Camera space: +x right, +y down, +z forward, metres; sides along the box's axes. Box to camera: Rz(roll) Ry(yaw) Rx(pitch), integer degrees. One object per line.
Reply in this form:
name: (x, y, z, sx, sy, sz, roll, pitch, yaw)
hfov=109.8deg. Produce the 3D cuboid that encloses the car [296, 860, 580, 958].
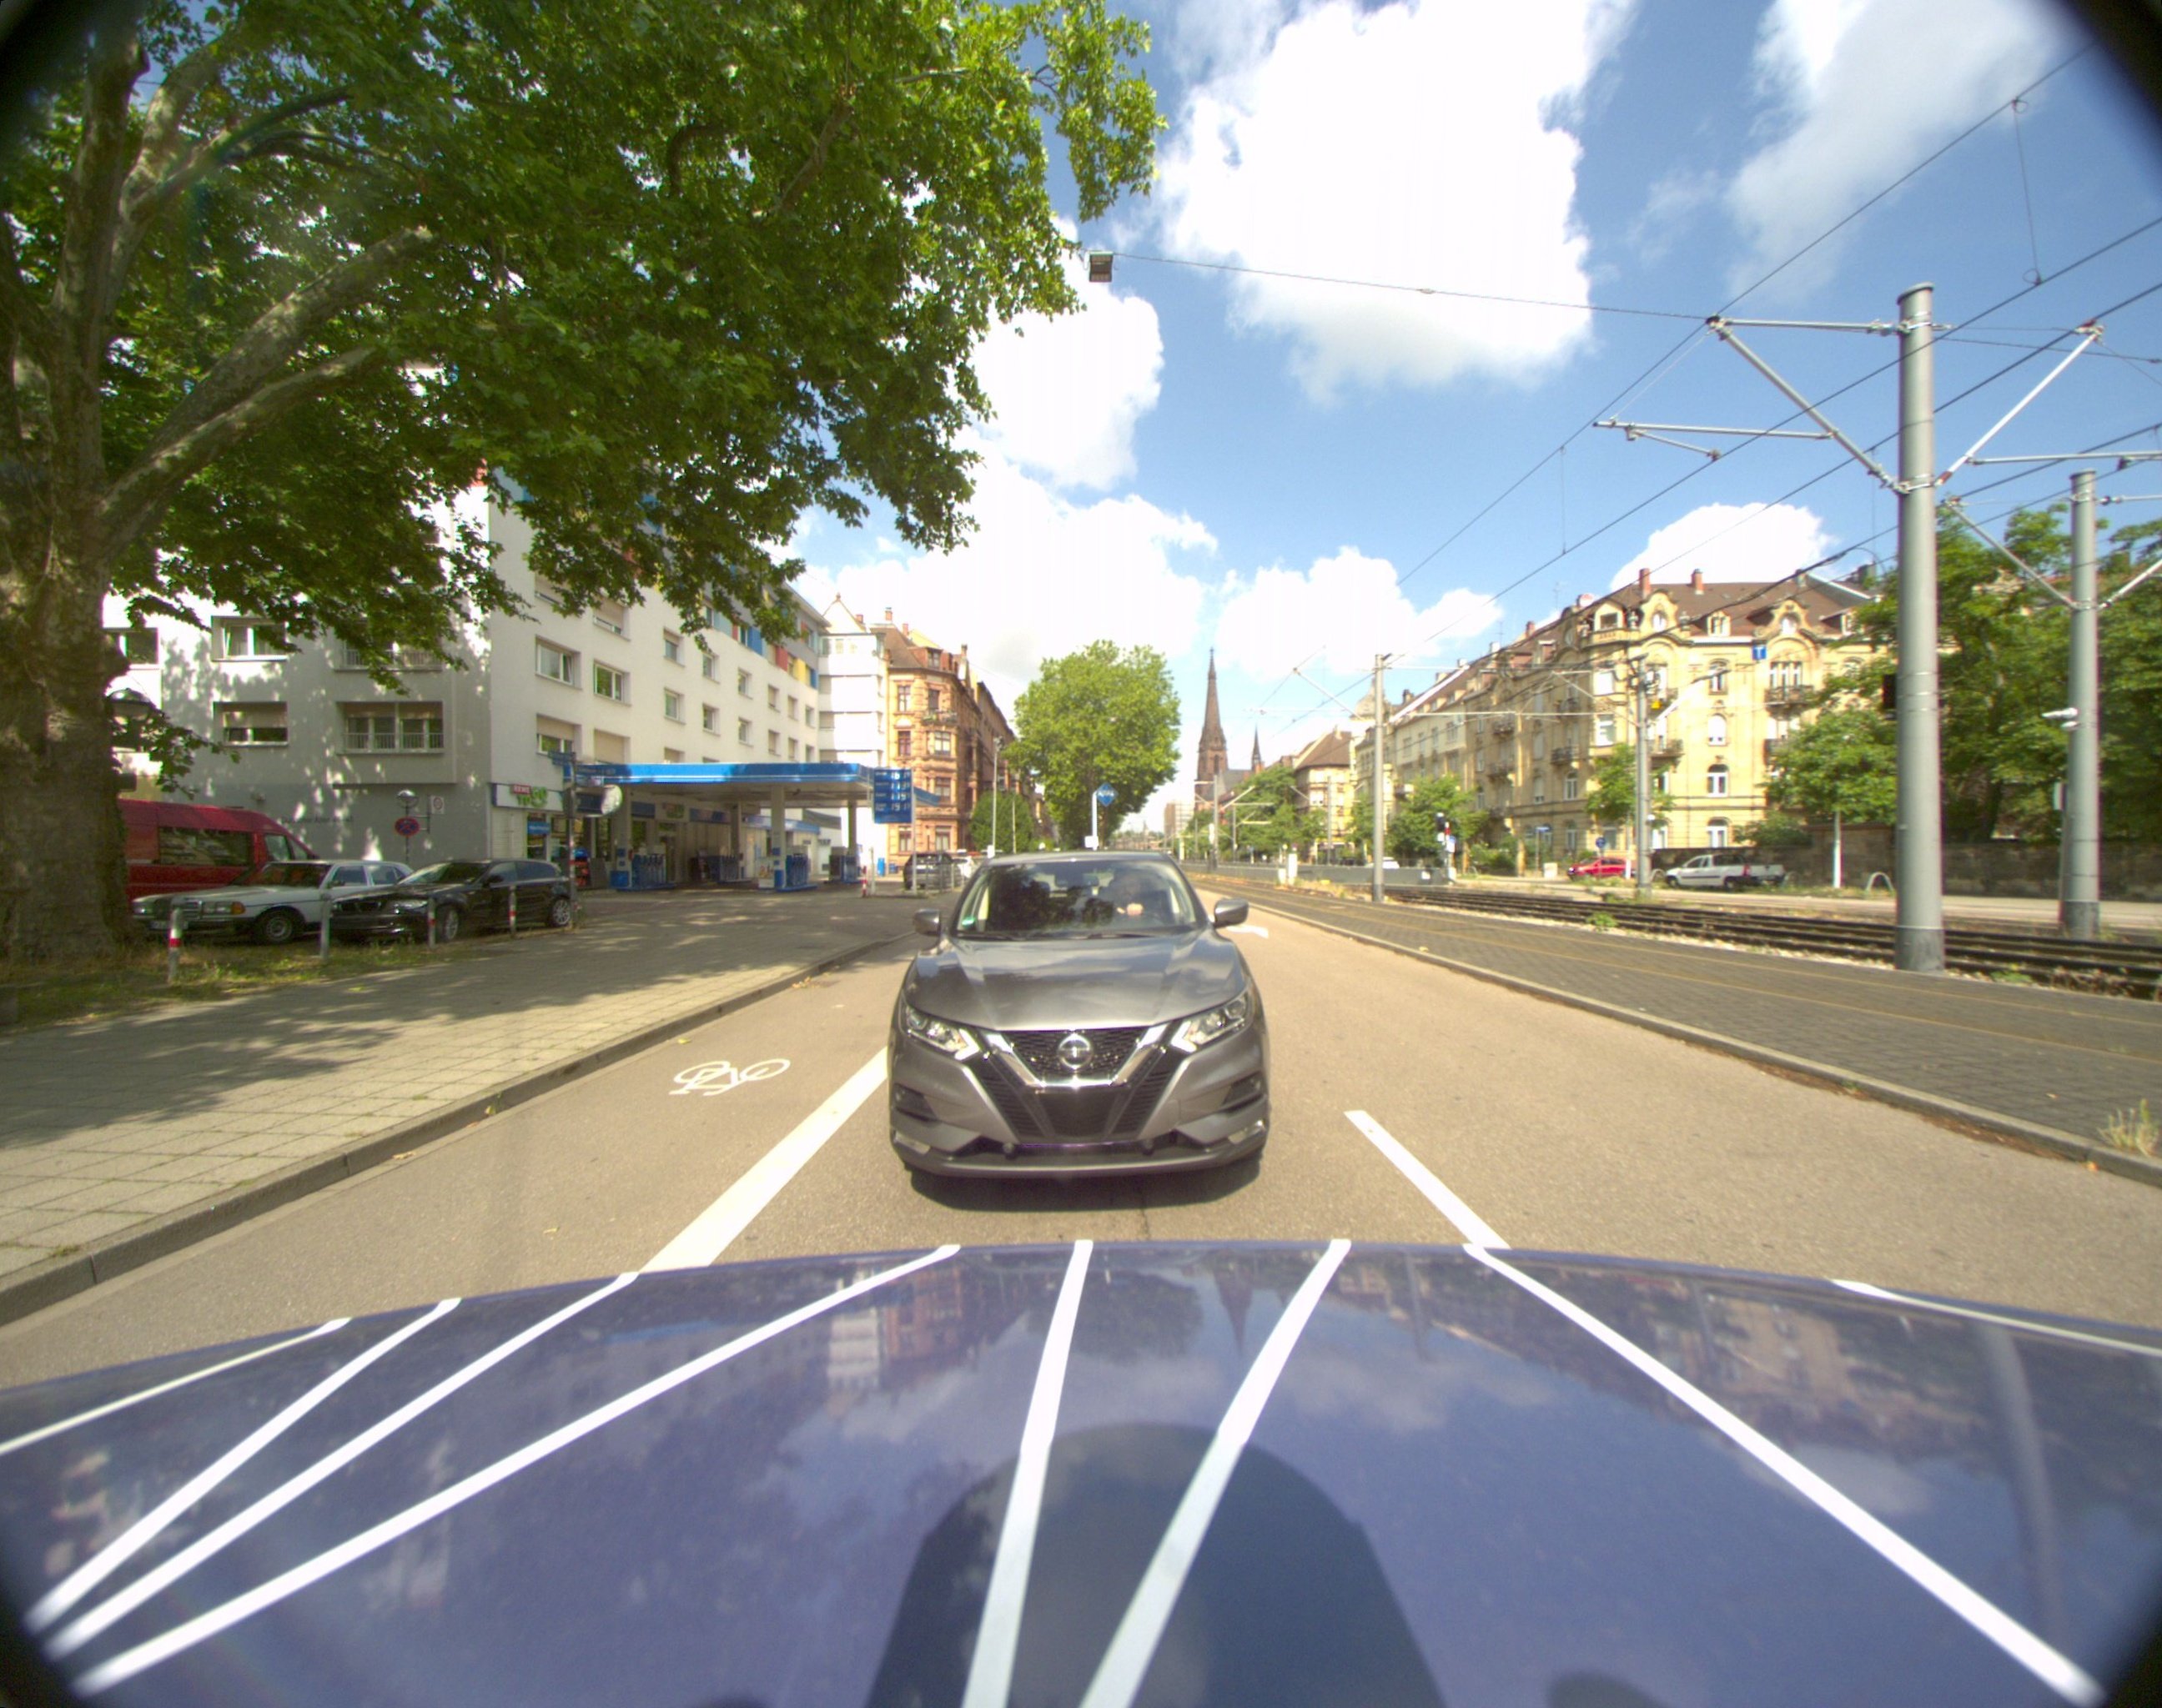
car: (-11.143, 0.856, 13.616, 1.653, 1.461, 4.042, 0, 0, 0)

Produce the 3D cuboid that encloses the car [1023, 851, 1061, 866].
car: (-5.065, 0.554, 98.343, 4.735, 1.772, 2.004, -2, 1, -7)

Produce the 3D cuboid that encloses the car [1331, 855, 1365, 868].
car: (27.134, 0.754, 77.341, 2.025, 1.319, 4.100, 0, 0, -2)

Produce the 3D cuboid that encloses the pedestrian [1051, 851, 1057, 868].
pedestrian: (-2.750, 0.552, 76.650, 0.565, 1.776, 0.630, 0, 1, 0)

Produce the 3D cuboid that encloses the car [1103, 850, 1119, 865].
car: (3.174, 0.364, 81.604, 1.557, 1.476, 3.858, 3, 0, 0)

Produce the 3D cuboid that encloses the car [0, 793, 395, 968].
car: (-16.682, 0.392, 14.189, 2.116, 2.567, 6.020, 0, 0, 2)

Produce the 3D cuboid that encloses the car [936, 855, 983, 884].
car: (-6.445, 0.777, 40.646, 1.810, 1.447, 4.001, -1, 0, 0)

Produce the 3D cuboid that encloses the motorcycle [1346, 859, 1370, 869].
motorcycle: (27.115, 0.962, 74.471, 1.765, 0.936, 1.417, 1, 0, -1)

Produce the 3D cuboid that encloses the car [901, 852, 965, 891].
car: (-6.445, 0.729, 33.633, 1.810, 1.593, 4.583, -1, 0, 2)

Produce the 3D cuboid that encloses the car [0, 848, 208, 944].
car: (-19.398, 0.743, 13.617, 2.011, 1.641, 4.653, -2, 0, 2)

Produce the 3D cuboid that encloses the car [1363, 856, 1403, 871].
car: (27.152, 0.863, 68.491, 1.756, 1.320, 4.312, 0, 0, -1)

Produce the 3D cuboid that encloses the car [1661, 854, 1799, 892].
car: (26.907, 0.742, 31.720, 1.936, 1.495, 4.413, 0, 0, -1)

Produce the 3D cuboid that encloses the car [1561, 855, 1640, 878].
car: (33.816, 0.802, 49.550, 3.788, 1.455, 1.933, 0, 0, 4)

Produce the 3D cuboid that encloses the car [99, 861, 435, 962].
car: (-13.822, 0.872, 13.332, 1.653, 1.461, 4.042, 0, 0, -3)

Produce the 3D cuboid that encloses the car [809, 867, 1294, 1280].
car: (-0.073, 0.858, 5.110, 1.800, 1.454, 4.567, 0, 0, 1)

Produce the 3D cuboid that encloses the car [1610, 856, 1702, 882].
car: (33.123, 0.866, 43.830, 3.972, 1.455, 1.723, 0, 0, 1)
